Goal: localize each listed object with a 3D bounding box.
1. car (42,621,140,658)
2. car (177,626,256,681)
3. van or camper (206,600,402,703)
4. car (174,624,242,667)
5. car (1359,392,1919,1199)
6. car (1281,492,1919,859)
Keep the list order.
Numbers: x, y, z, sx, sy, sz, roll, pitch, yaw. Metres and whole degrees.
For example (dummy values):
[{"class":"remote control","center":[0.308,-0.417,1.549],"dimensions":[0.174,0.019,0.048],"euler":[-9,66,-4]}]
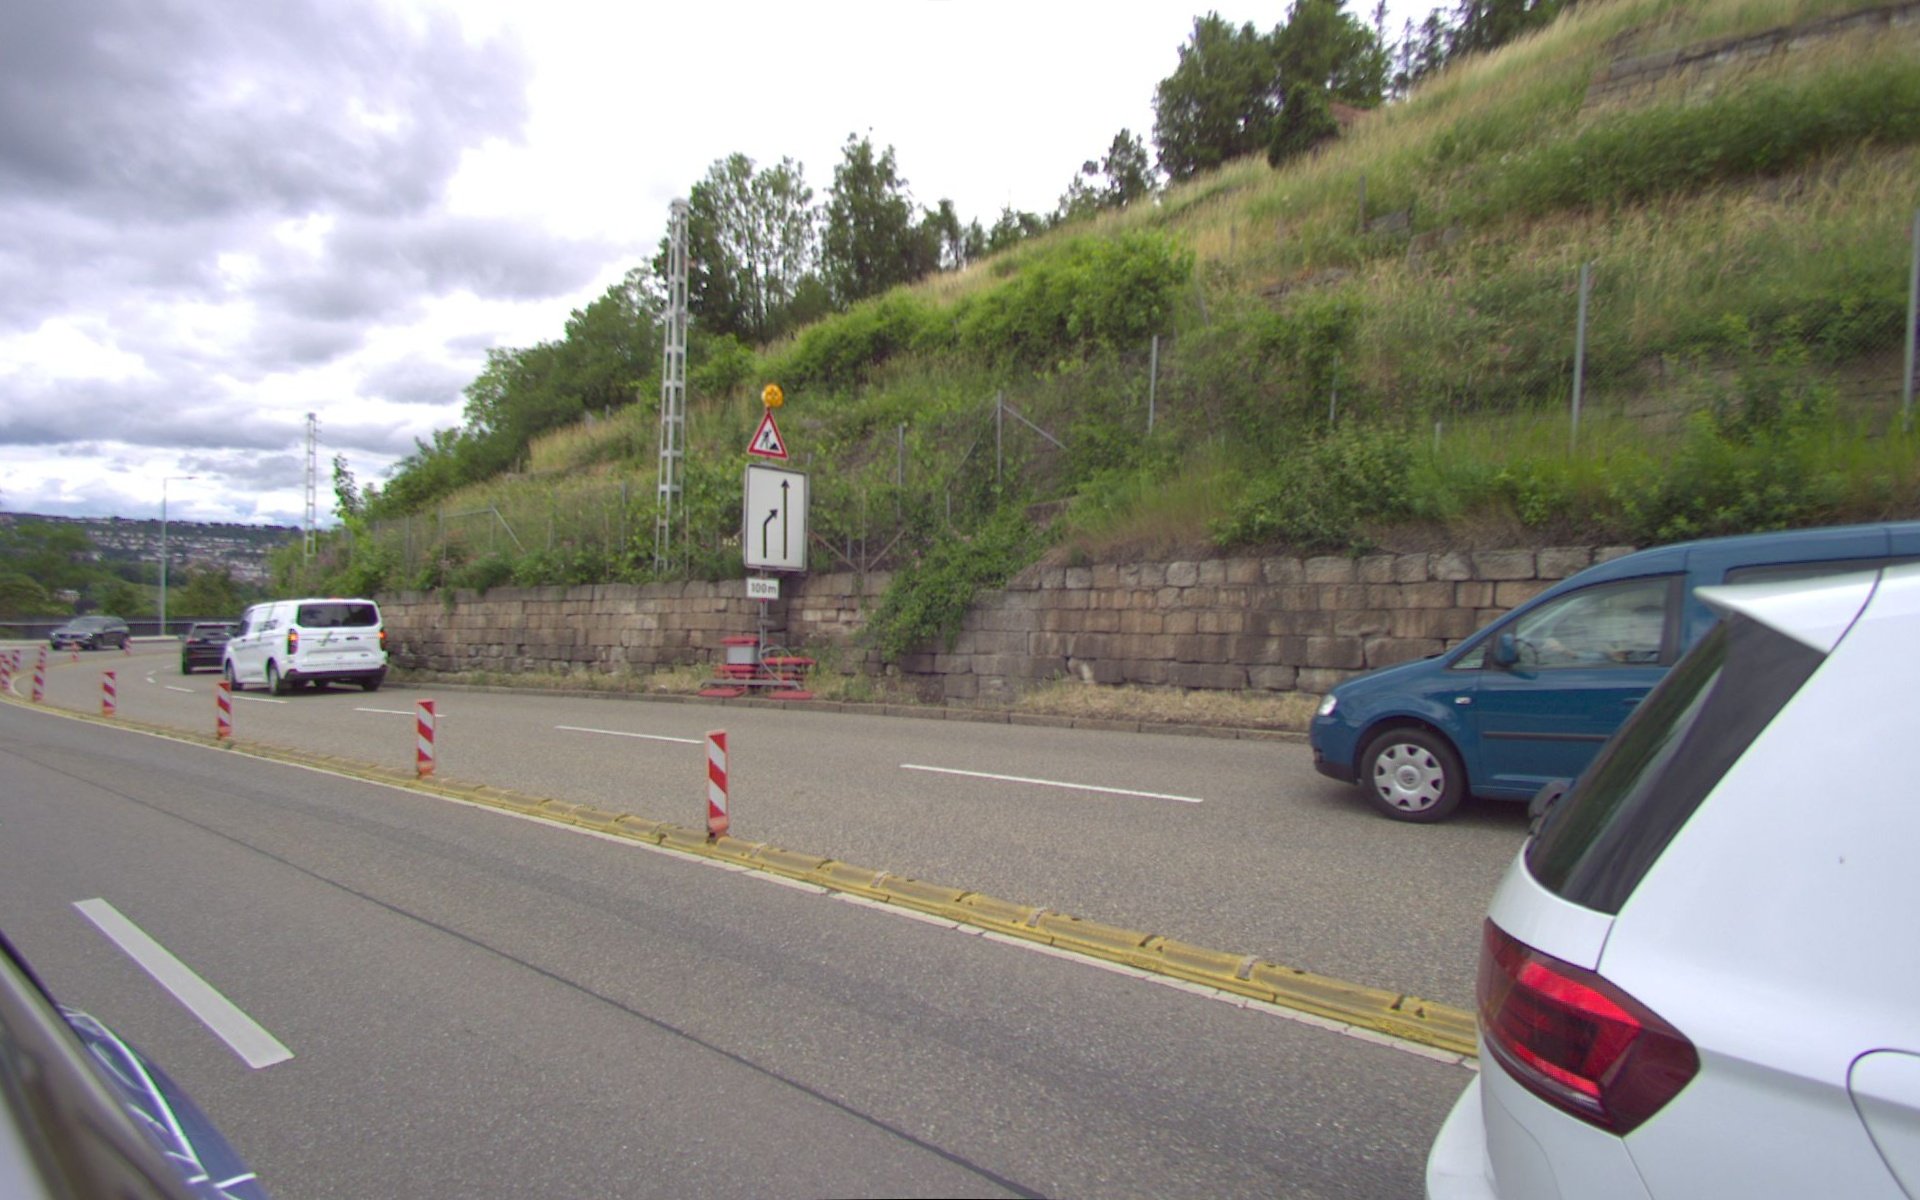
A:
[{"class":"car","center":[-42.359,1.900,49.472],"dimensions":[1.966,1.683,4.552],"euler":[3,-2,-19]},{"class":"car","center":[-24.099,1.694,32.929],"dimensions":[1.839,1.636,4.359],"euler":[1,-2,-34]},{"class":"van or camper","center":[-14.449,1.105,22.170],"dimensions":[4.956,2.032,2.127],"euler":[-3,-2,38]},{"class":"car","center":[-32.870,1.947,44.339],"dimensions":[1.817,1.739,4.477],"euler":[2,-1,-29]},{"class":"car","center":[2.680,0.570,0.354],"dimensions":[4.357,1.592,1.801],"euler":[-2,-1,44]},{"class":"car","center":[4.640,0.374,6.201],"dimensions":[4.731,1.796,1.832],"euler":[-2,0,41]}]
